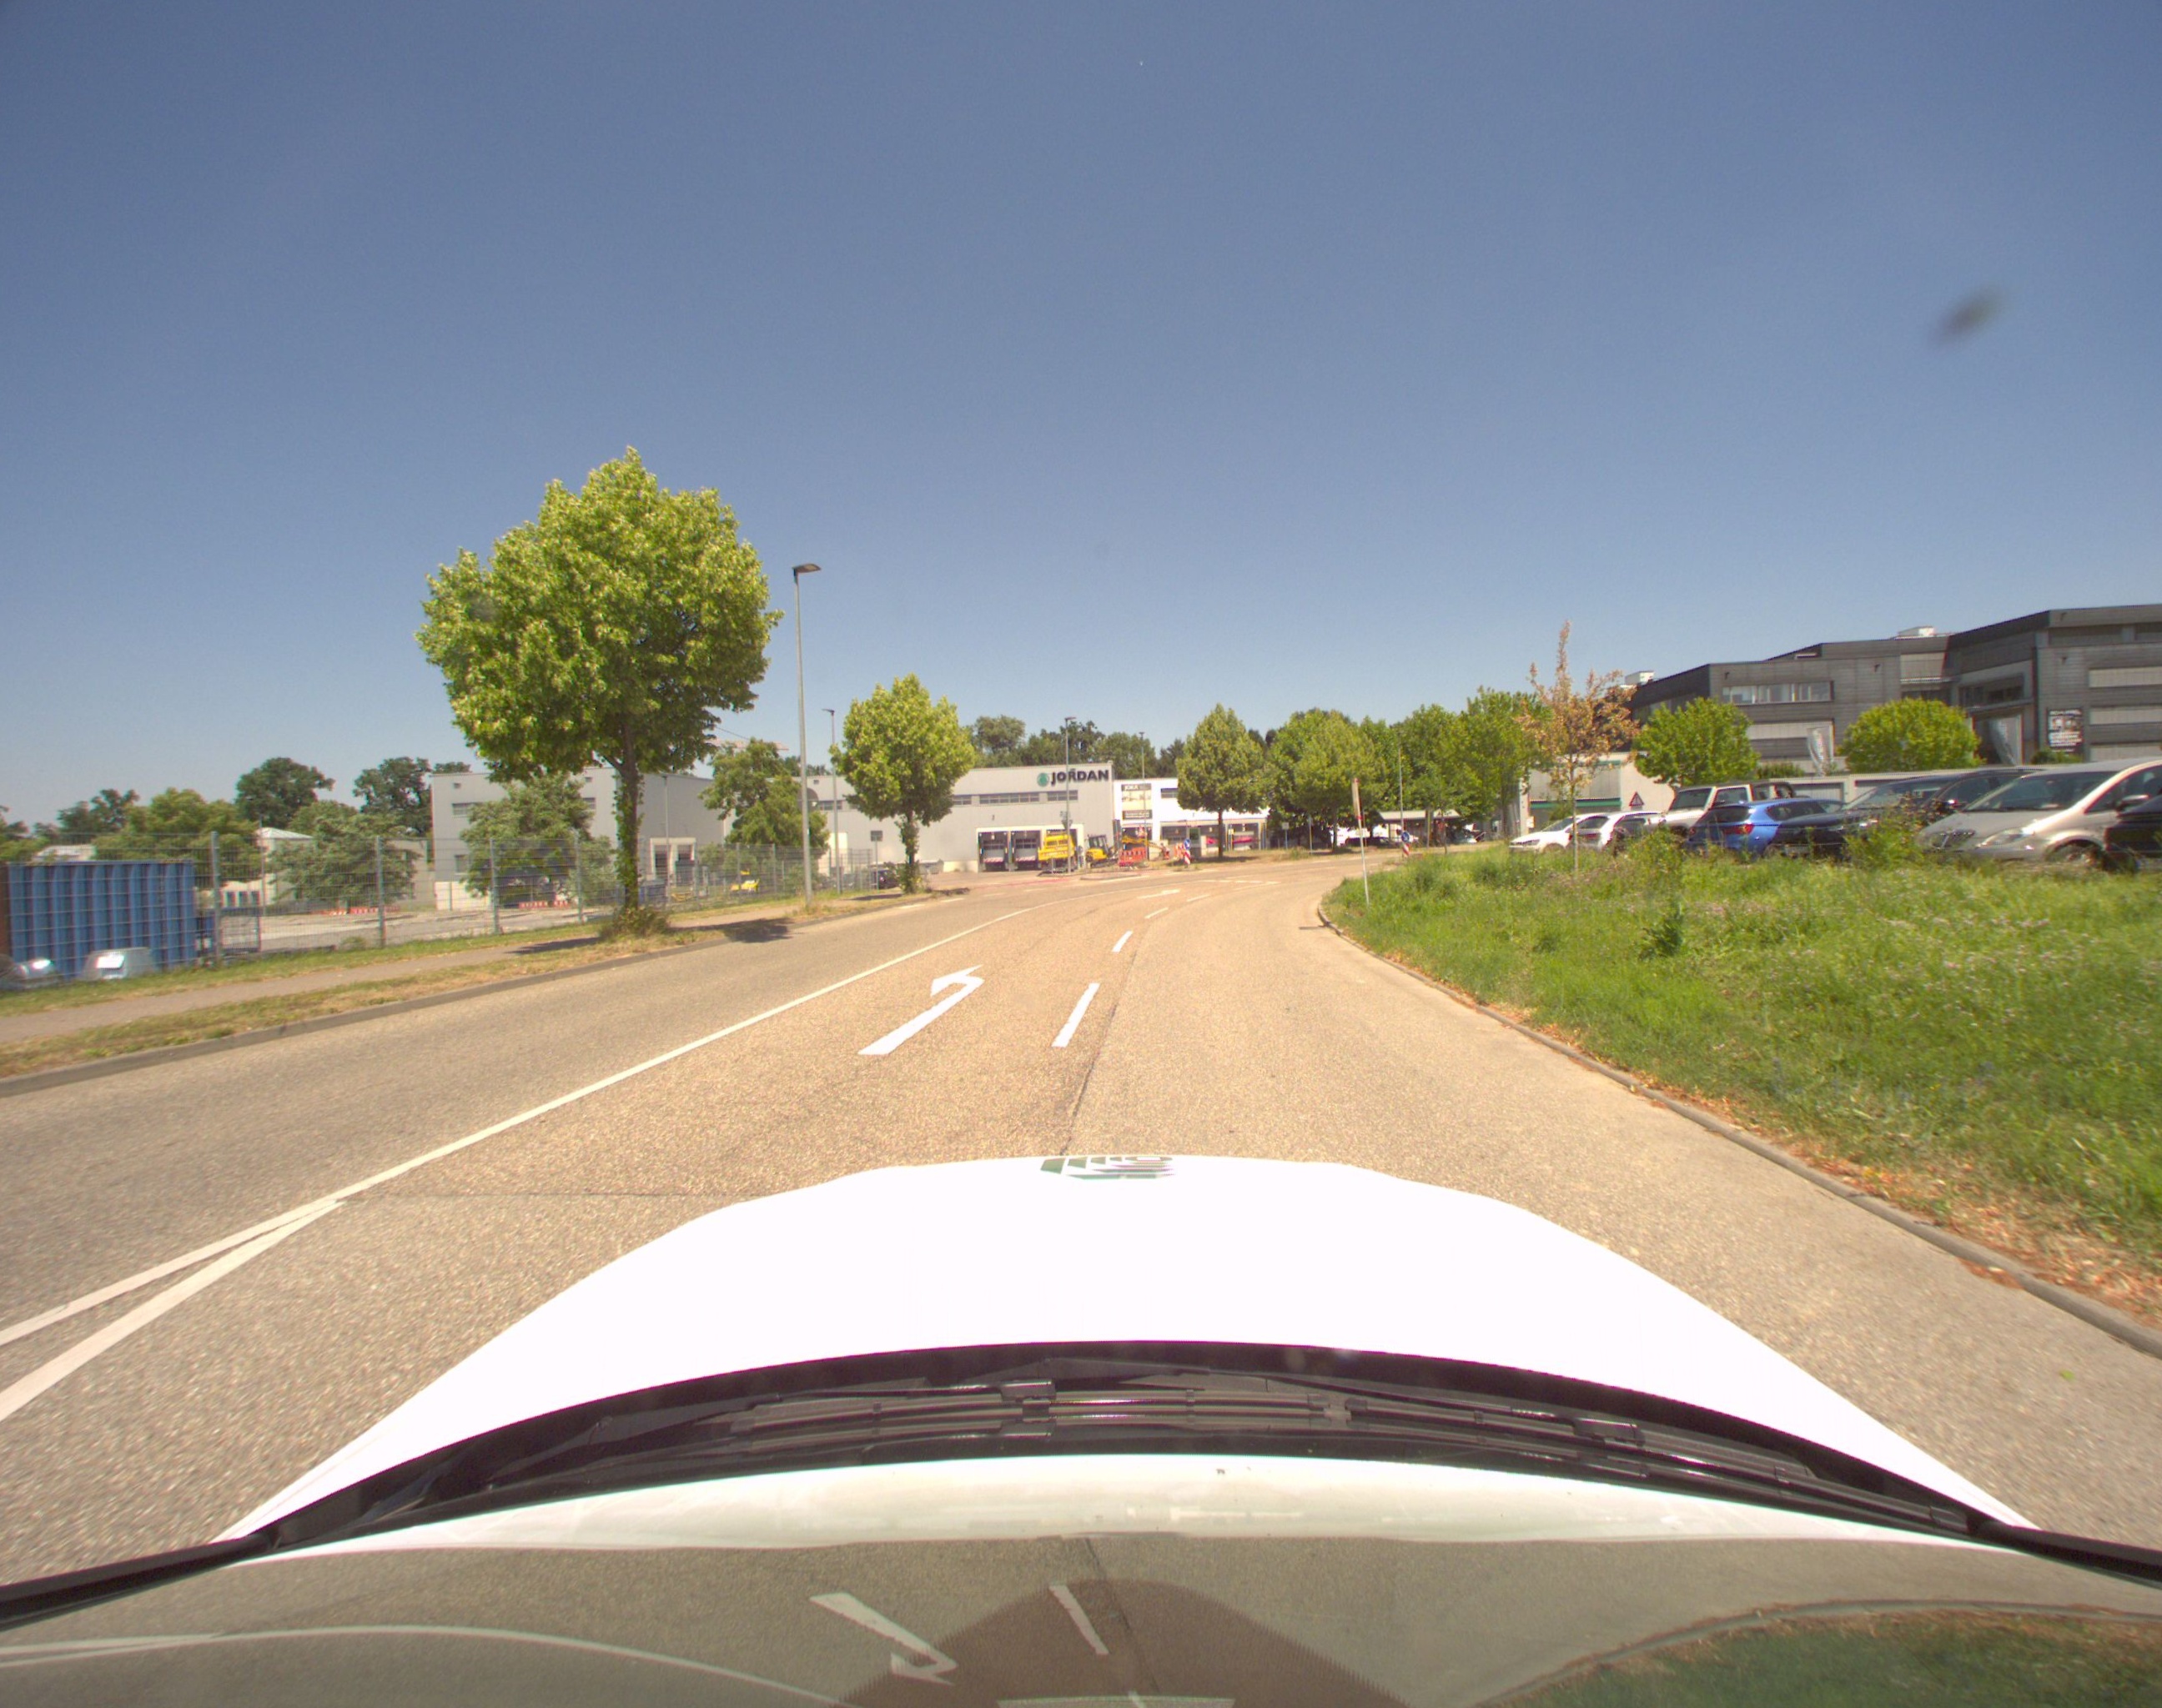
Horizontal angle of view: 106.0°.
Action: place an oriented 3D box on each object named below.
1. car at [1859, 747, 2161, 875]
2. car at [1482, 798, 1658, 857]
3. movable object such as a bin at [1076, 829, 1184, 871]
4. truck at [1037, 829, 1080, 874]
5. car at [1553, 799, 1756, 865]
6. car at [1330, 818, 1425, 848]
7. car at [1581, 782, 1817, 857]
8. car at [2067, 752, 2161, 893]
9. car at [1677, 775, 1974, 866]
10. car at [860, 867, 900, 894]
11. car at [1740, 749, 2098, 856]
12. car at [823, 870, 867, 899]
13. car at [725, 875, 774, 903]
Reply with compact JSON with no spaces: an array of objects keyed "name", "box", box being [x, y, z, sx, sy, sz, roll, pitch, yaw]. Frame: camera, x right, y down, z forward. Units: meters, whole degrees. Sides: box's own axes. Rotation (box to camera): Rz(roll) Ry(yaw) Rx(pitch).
[{"name":"car","box":[13.336,-0.640,10.888,4.147,1.400,1.770,-4,4,2]},{"name":"car","box":[14.419,-0.821,24.168,4.147,1.400,1.770,-4,4,2]},{"name":"movable object such as a bin","box":[3.793,-0.316,61.596,7.473,2.499,3.681,-3,4,13]},{"name":"truck","box":[-1.791,-0.257,61.691,2.932,2.885,5.805,-4,4,-3]},{"name":"car","box":[15.157,-0.623,21.681,4.147,1.400,1.770,-4,4,2]},{"name":"car","box":[24.715,-1.764,68.180,7.131,2.088,2.005,-3,0,8]},{"name":"car","box":[14.325,-0.829,19.055,4.147,1.400,1.770,-4,4,2]},{"name":"car","box":[12.954,-0.431,8.076,4.147,1.400,1.770,-4,4,2]},{"name":"car","box":[14.374,-0.666,15.893,4.147,1.400,1.770,-4,4,2]},{"name":"car","box":[-15.123,1.967,61.418,1.988,1.551,3.999,-4,4,-1]},{"name":"car","box":[13.885,-0.859,13.683,4.147,1.400,1.770,-4,4,2]},{"name":"car","box":[-17.016,2.182,58.979,1.988,1.551,3.999,-4,4,-1]},{"name":"car","box":[-24.820,2.583,61.103,1.988,1.551,3.999,-4,4,-1]}]
